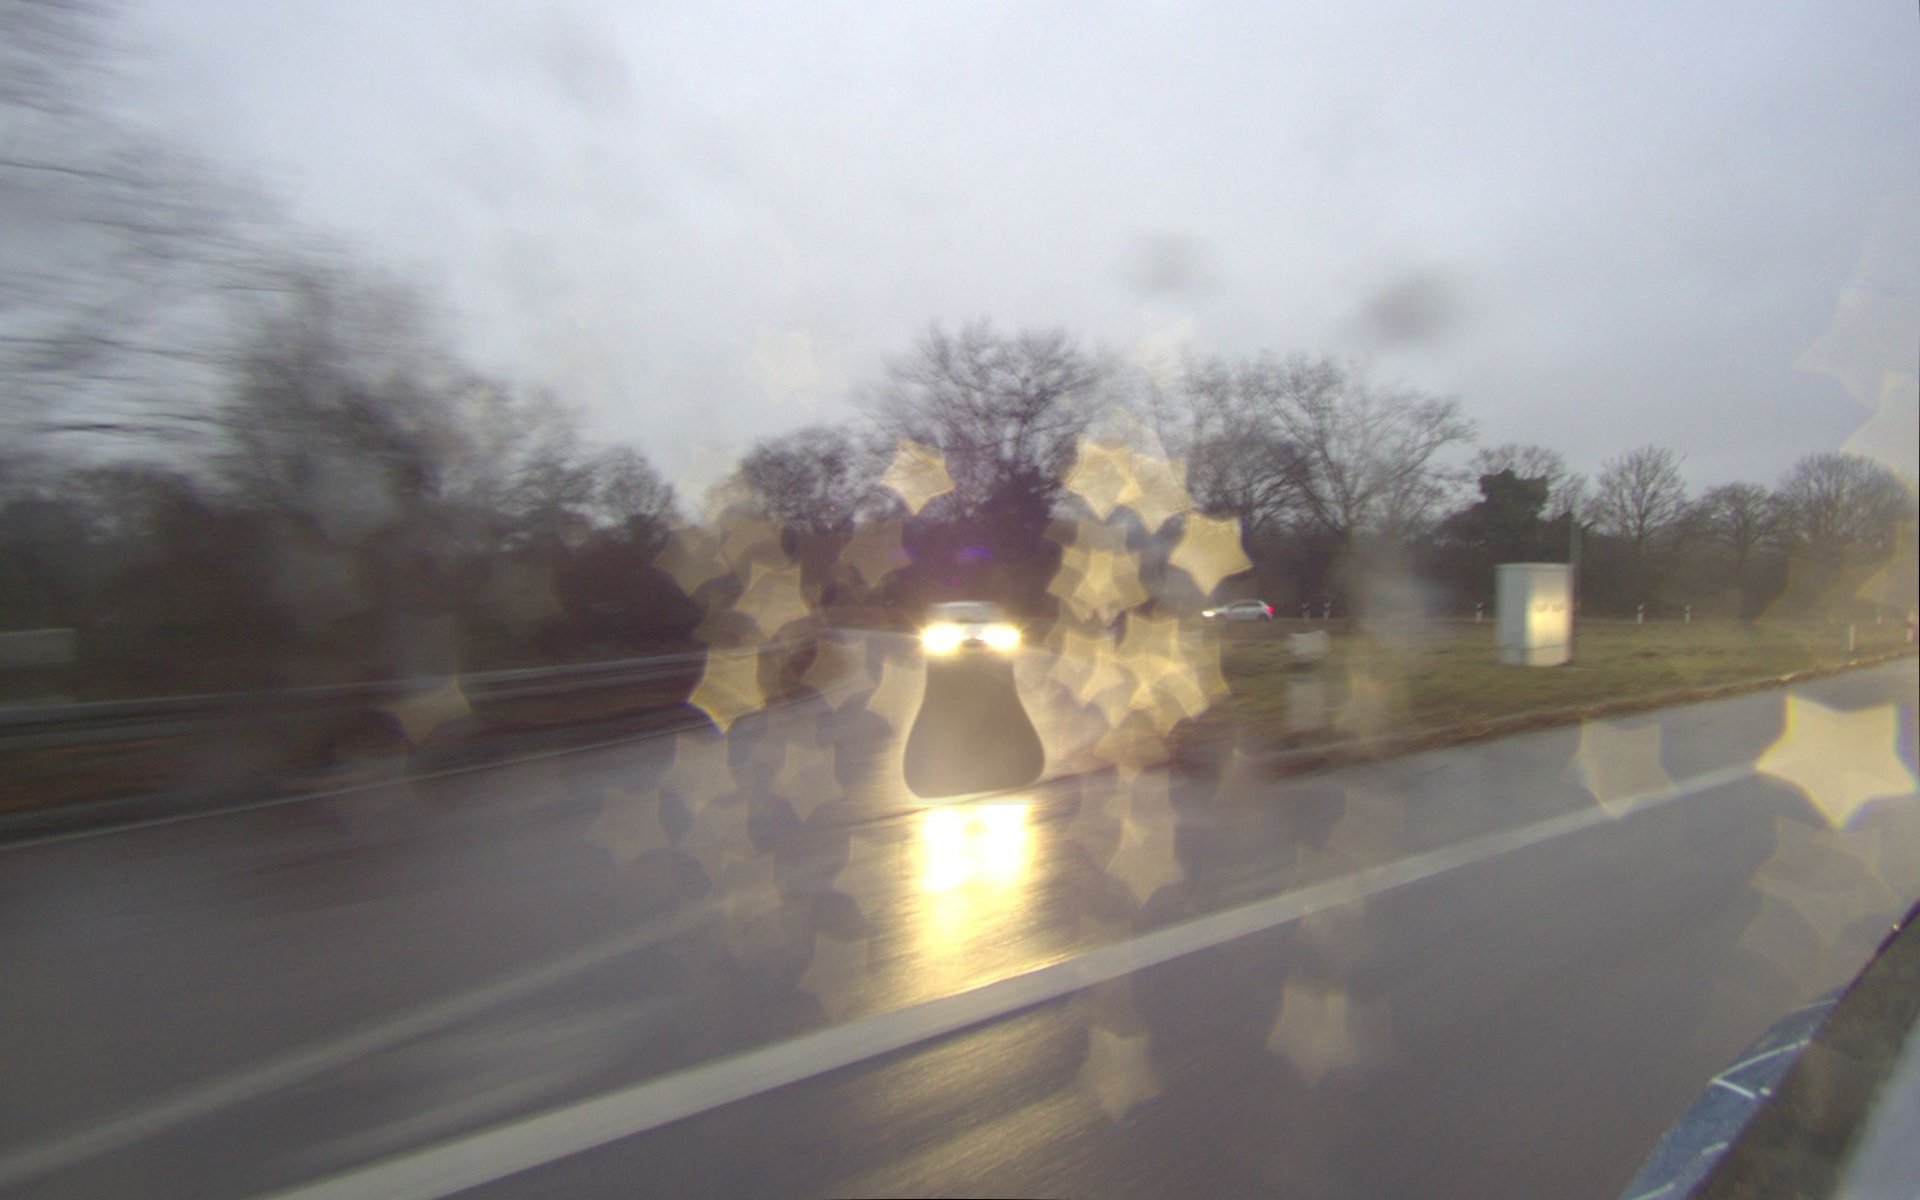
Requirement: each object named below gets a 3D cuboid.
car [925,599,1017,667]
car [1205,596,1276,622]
[{"bbox_3d":[0.259,0.684,23.183,1.899,1.376,4.396,0,0,1],"label":"car"},{"bbox_3d":[16.566,0.516,59.936,3.722,1.452,1.728,1,1,3],"label":"car"}]
